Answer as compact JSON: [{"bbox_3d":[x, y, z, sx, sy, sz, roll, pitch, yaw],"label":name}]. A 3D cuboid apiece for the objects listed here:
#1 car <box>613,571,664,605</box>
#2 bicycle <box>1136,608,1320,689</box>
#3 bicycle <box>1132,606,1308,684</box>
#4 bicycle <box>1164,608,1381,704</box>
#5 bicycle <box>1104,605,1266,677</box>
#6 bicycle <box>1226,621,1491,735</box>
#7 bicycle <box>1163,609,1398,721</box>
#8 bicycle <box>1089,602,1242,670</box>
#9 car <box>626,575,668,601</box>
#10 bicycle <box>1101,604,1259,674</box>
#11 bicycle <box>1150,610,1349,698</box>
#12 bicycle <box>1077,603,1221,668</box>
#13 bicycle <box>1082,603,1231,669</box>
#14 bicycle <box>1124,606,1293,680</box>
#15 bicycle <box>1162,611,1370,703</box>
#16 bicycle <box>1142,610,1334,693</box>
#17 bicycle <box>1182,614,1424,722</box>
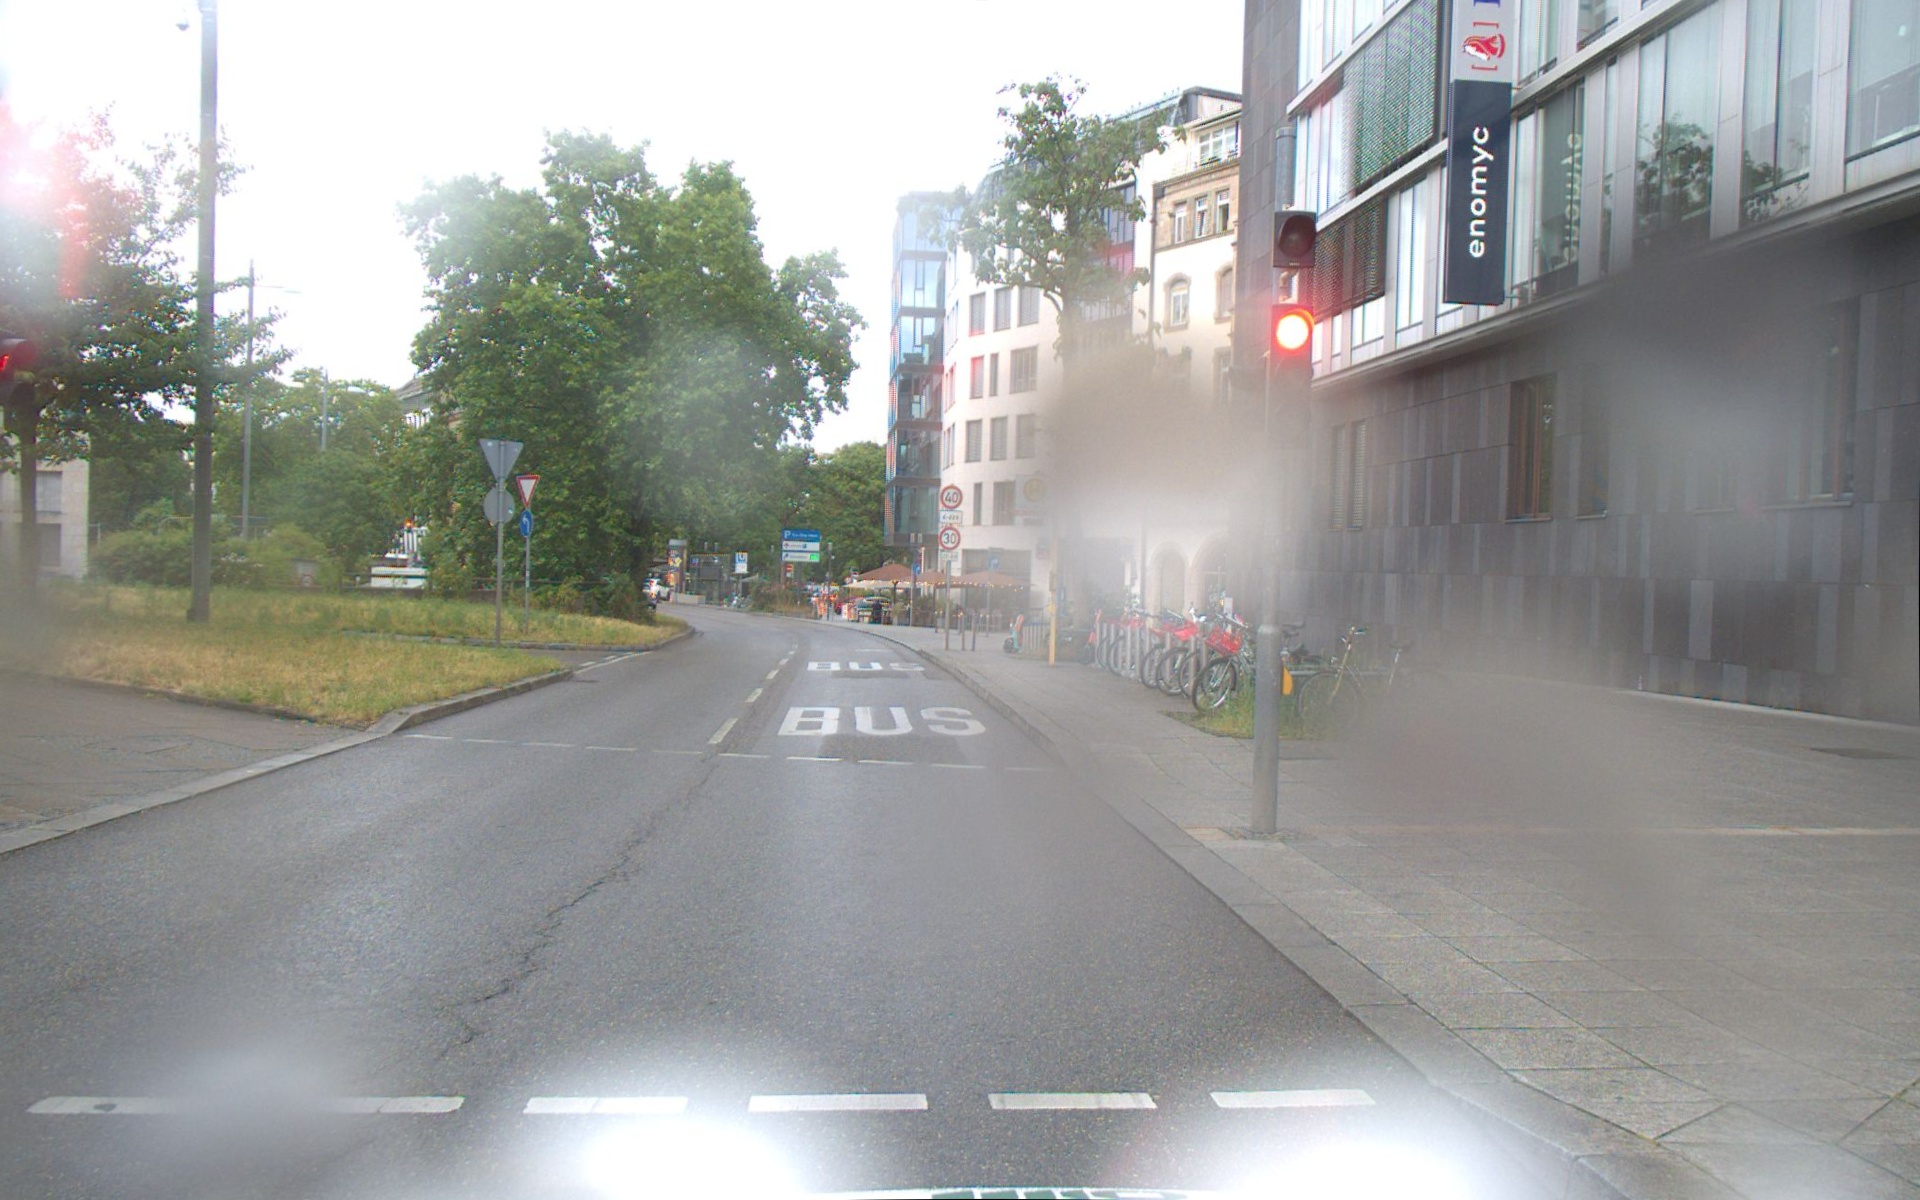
[{"bbox_3d":[-18.645,-0.710,95.756,1.968,1.675,3.971,6,0,-24],"label":"car"},{"bbox_3d":[3.792,0.681,23.466,2.486,1.106,0.677,1,0,-6],"label":"bicycle"},{"bbox_3d":[3.865,0.663,24.664,2.486,1.106,0.677,1,0,-6],"label":"bicycle"},{"bbox_3d":[3.769,0.670,20.025,2.486,1.106,0.677,1,0,-6],"label":"bicycle"},{"bbox_3d":[3.591,0.649,26.477,2.486,1.106,0.677,1,0,-6],"label":"bicycle"},{"bbox_3d":[3.962,0.773,16.521,2.487,1.075,0.677,1,0,-6],"label":"bicycle"},{"bbox_3d":[3.630,0.730,18.797,2.487,1.106,0.677,3,0,-6],"label":"bicycle"},{"bbox_3d":[3.480,0.614,28.116,2.486,1.106,0.677,1,0,-6],"label":"bicycle"},{"bbox_3d":[-21.970,-0.850,116.176,2.134,1.730,4.000,2,0,0],"label":"car"},{"bbox_3d":[3.615,0.631,27.230,2.486,1.106,0.677,1,0,-6],"label":"bicycle"},{"bbox_3d":[3.785,0.701,21.690,2.486,1.106,0.677,1,0,-6],"label":"bicycle"},{"bbox_3d":[3.376,0.628,29.584,2.486,1.106,0.627,1,0,-6],"label":"bicycle"},{"bbox_3d":[3.422,0.622,28.863,2.486,1.106,0.677,1,0,-6],"label":"bicycle"},{"bbox_3d":[3.839,0.658,25.642,2.486,1.106,0.677,1,0,-6],"label":"bicycle"},{"bbox_3d":[3.852,0.709,20.881,2.486,1.106,0.677,1,0,-6],"label":"bicycle"},{"bbox_3d":[3.777,0.700,22.557,2.486,1.078,0.677,1,0,-6],"label":"bicycle"},{"bbox_3d":[3.718,0.731,17.995,2.487,1.106,0.677,1,0,-6],"label":"bicycle"}]
